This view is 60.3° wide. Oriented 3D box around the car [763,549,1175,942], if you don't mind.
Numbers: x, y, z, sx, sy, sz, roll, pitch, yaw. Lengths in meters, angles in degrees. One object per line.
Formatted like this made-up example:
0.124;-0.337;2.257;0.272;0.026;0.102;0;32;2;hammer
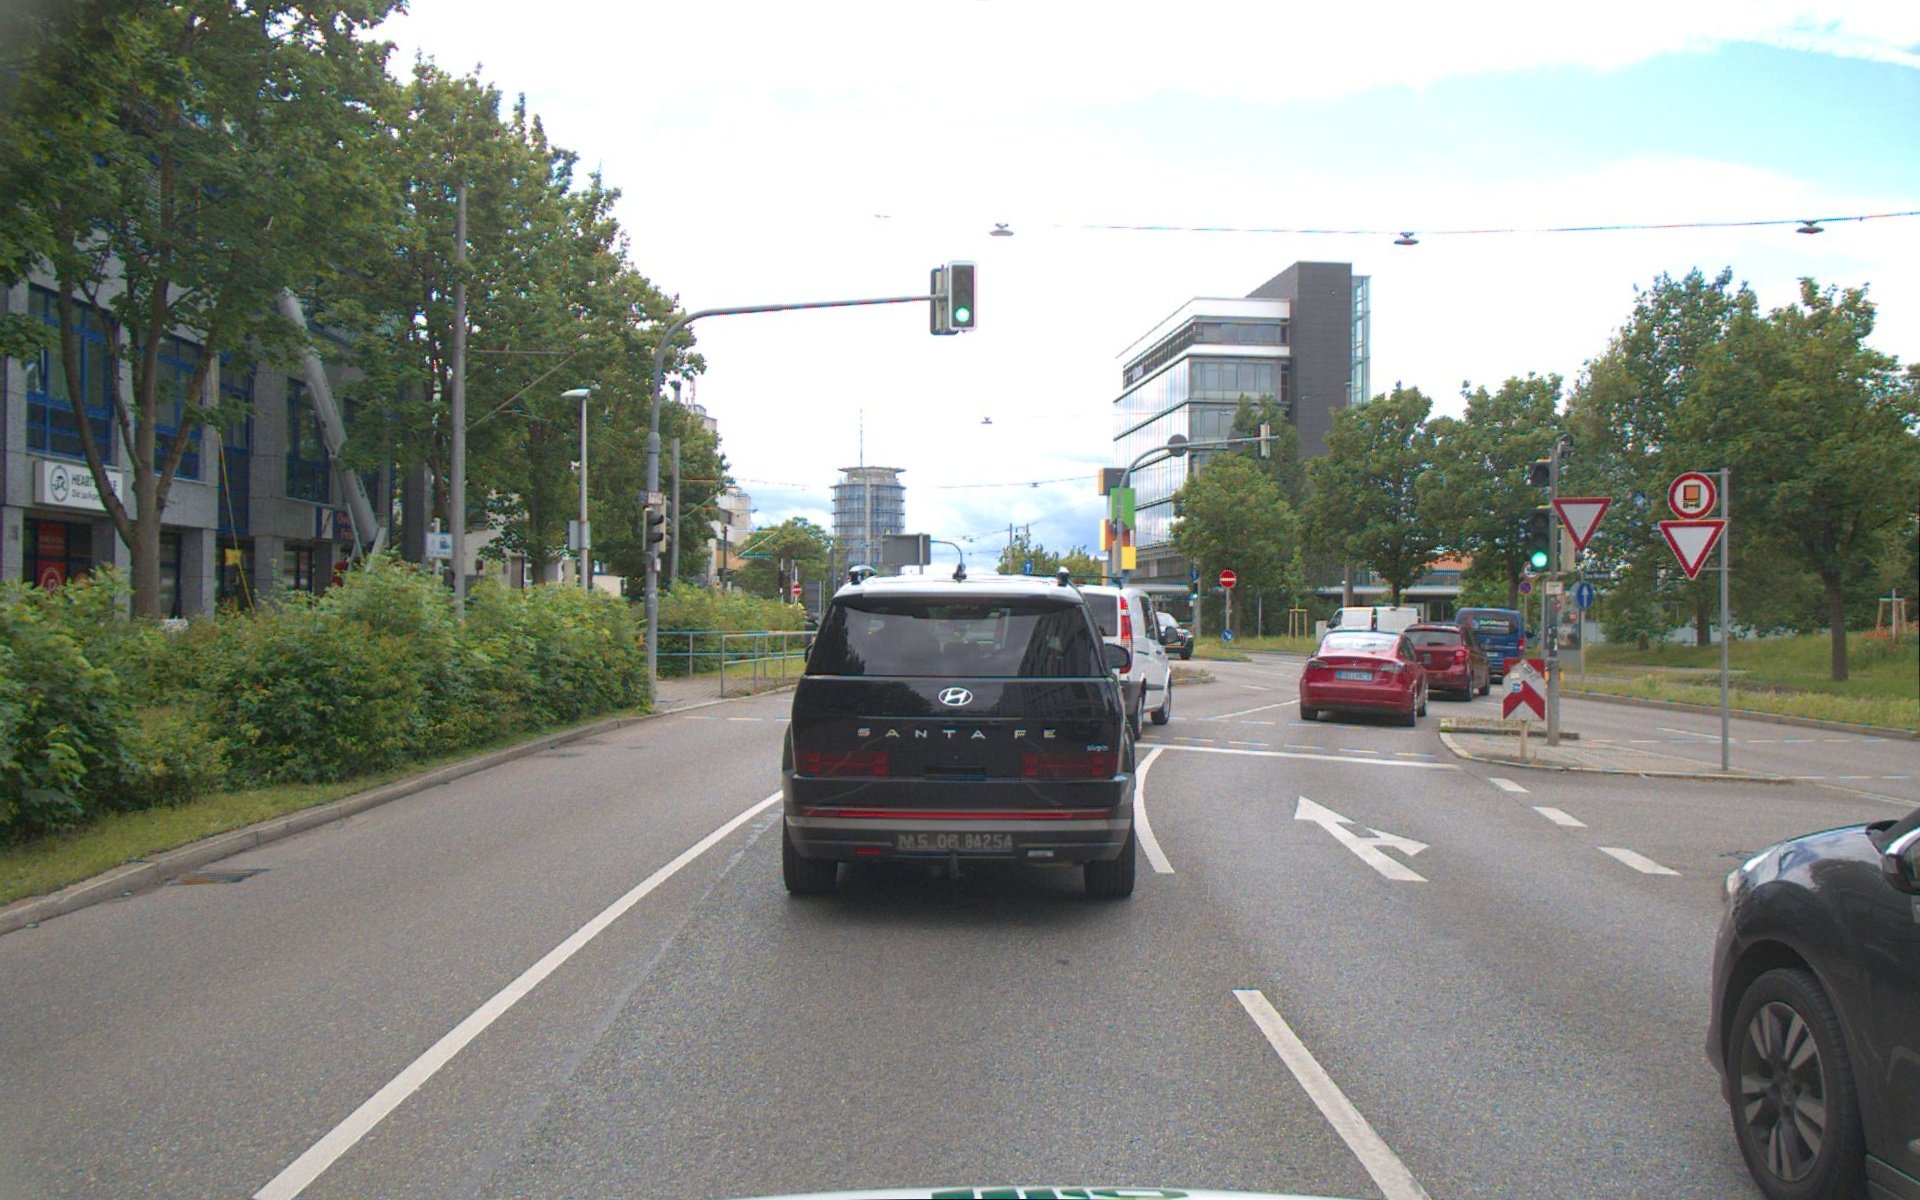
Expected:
0.099;0.690;9.924;1.863;1.762;4.447;2;0;1;car

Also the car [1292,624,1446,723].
6.912;1.172;27.637;1.835;1.443;4.441;2;0;22;car

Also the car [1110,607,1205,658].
6.806;1.101;57.503;1.856;1.592;4.381;2;0;-13;car

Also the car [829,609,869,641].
-6.076;1.353;90.431;1.750;1.564;4.387;2;0;-9;car

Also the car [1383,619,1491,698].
10.043;1.178;34.641;1.709;1.507;3.717;1;0;23;car

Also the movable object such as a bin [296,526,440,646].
-13.786;-0.306;38.752;1.867;2.575;4.125;3;0;-2;movable object such as a bin

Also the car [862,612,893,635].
-5.499;1.594;110.204;1.764;1.481;4.605;0;-1;-6;car

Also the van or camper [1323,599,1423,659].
14.646;0.997;58.845;1.956;1.951;4.402;1;0;-8;van or camper

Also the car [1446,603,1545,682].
14.084;1.093;43.345;1.864;1.891;4.705;2;0;25;car

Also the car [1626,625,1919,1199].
2.989;0.839;3.082;1.667;1.486;4.060;2;0;-3;car

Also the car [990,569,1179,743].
1.785;0.688;22.086;1.861;2.003;4.639;2;0;12;car
